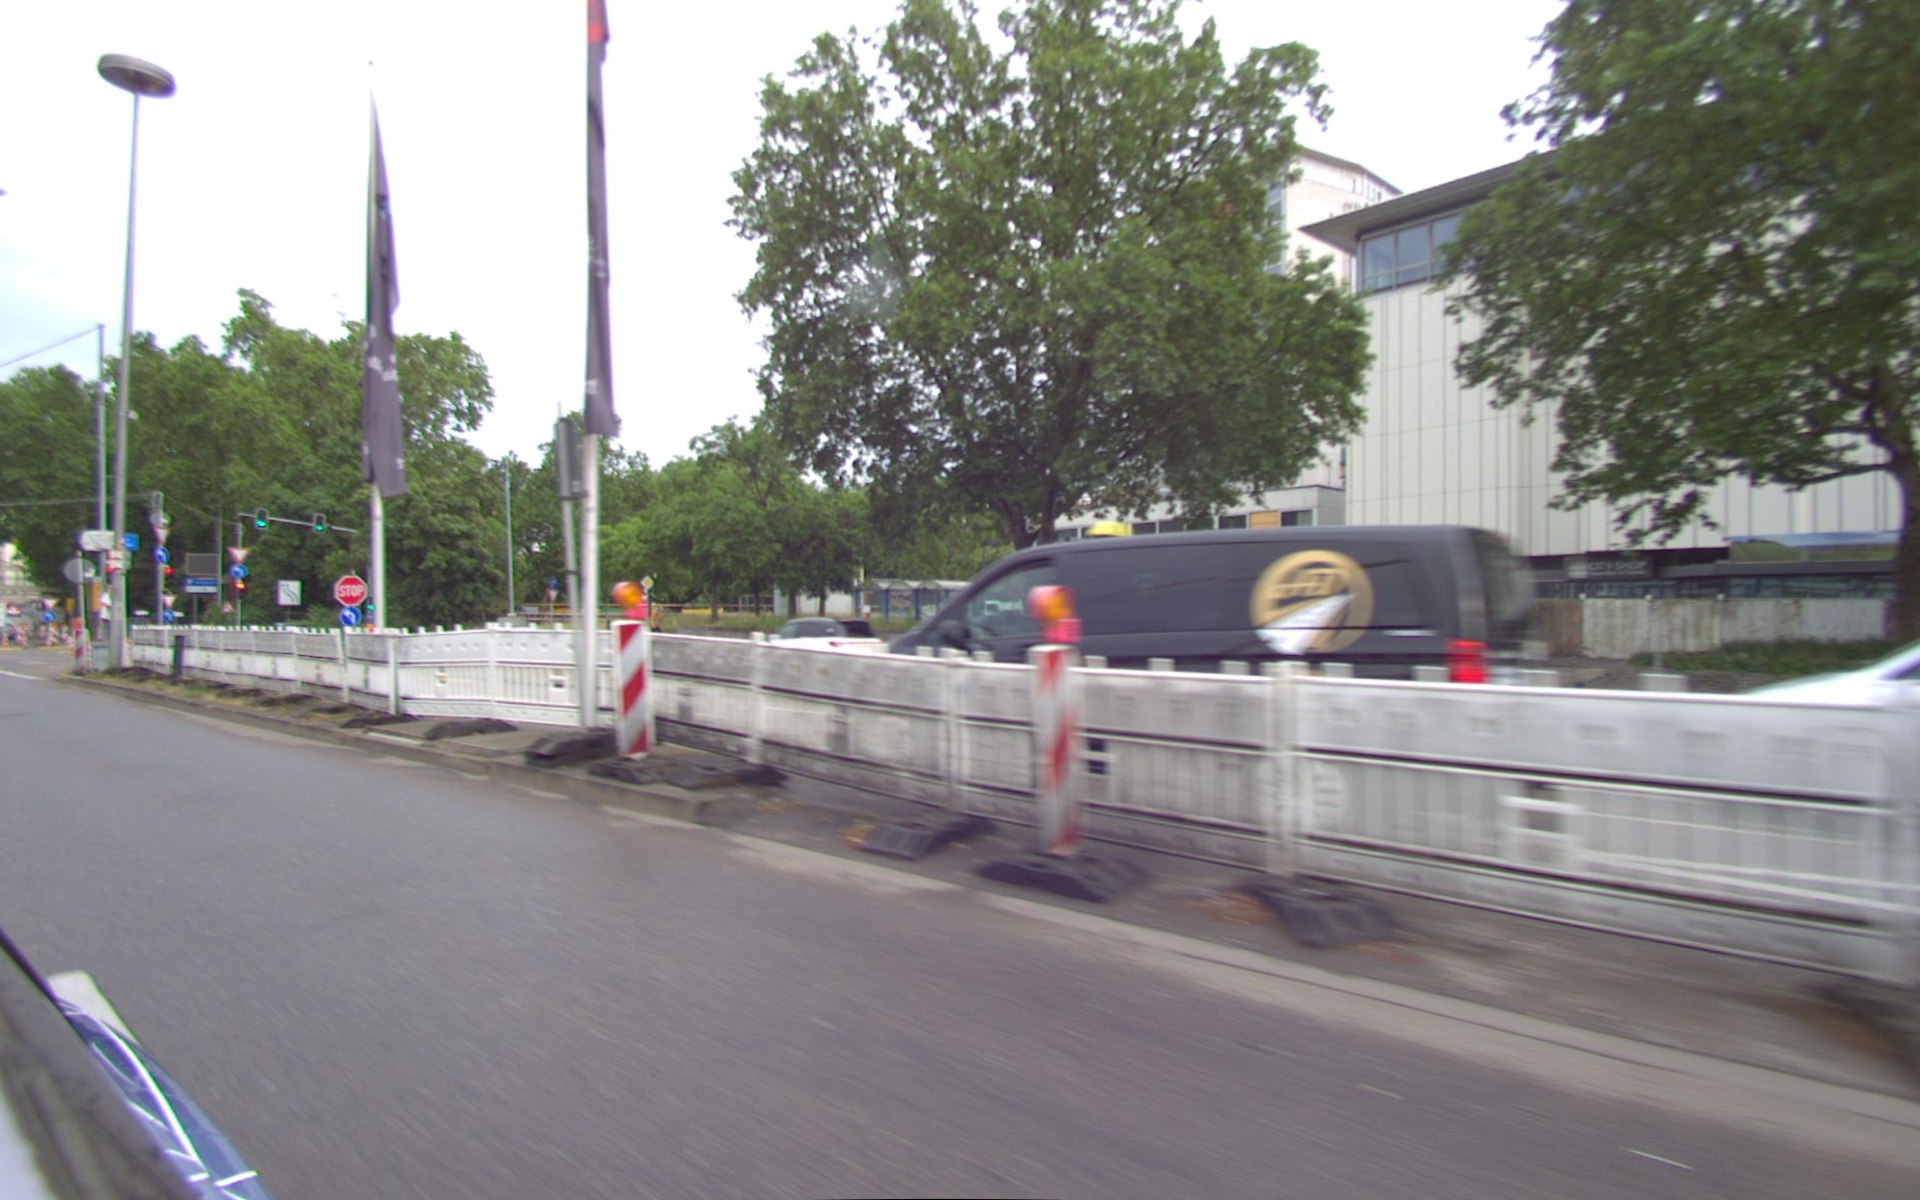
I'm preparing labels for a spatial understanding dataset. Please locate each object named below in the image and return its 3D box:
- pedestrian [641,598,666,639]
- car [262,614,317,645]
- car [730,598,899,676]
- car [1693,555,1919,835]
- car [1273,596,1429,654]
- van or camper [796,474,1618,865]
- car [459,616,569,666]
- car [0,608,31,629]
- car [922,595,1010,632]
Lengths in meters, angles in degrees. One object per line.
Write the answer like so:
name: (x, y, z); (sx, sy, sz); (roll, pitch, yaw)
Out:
pedestrian: (-13.374, 0.801, 44.097); (0.950, 1.738, 0.551); (-5, -3, 40)
car: (-33.844, 1.483, 51.057); (3.174, 1.554, 1.659); (-1, -2, 44)
car: (-3.632, 0.889, 24.787); (4.303, 1.715, 1.869); (-2, -1, 45)
car: (7.315, 0.540, 6.135); (4.422, 1.715, 1.870); (-2, -1, 43)
car: (11.155, 0.691, 29.037); (3.686, 1.554, 1.855); (-1, 0, -6)
van or camper: (1.370, 0.416, 7.221); (5.387, 1.833, 1.926); (-1, -4, 40)
car: (-16.196, 1.451, 36.600); (4.820, 1.644, 1.971); (-2, -1, 44)
car: (-78.219, 1.522, 83.208); (4.142, 1.554, 1.646); (-4, -2, 31)
car: (0.365, 0.797, 58.665); (4.782, 2.029, 2.029); (-1, -1, 11)
